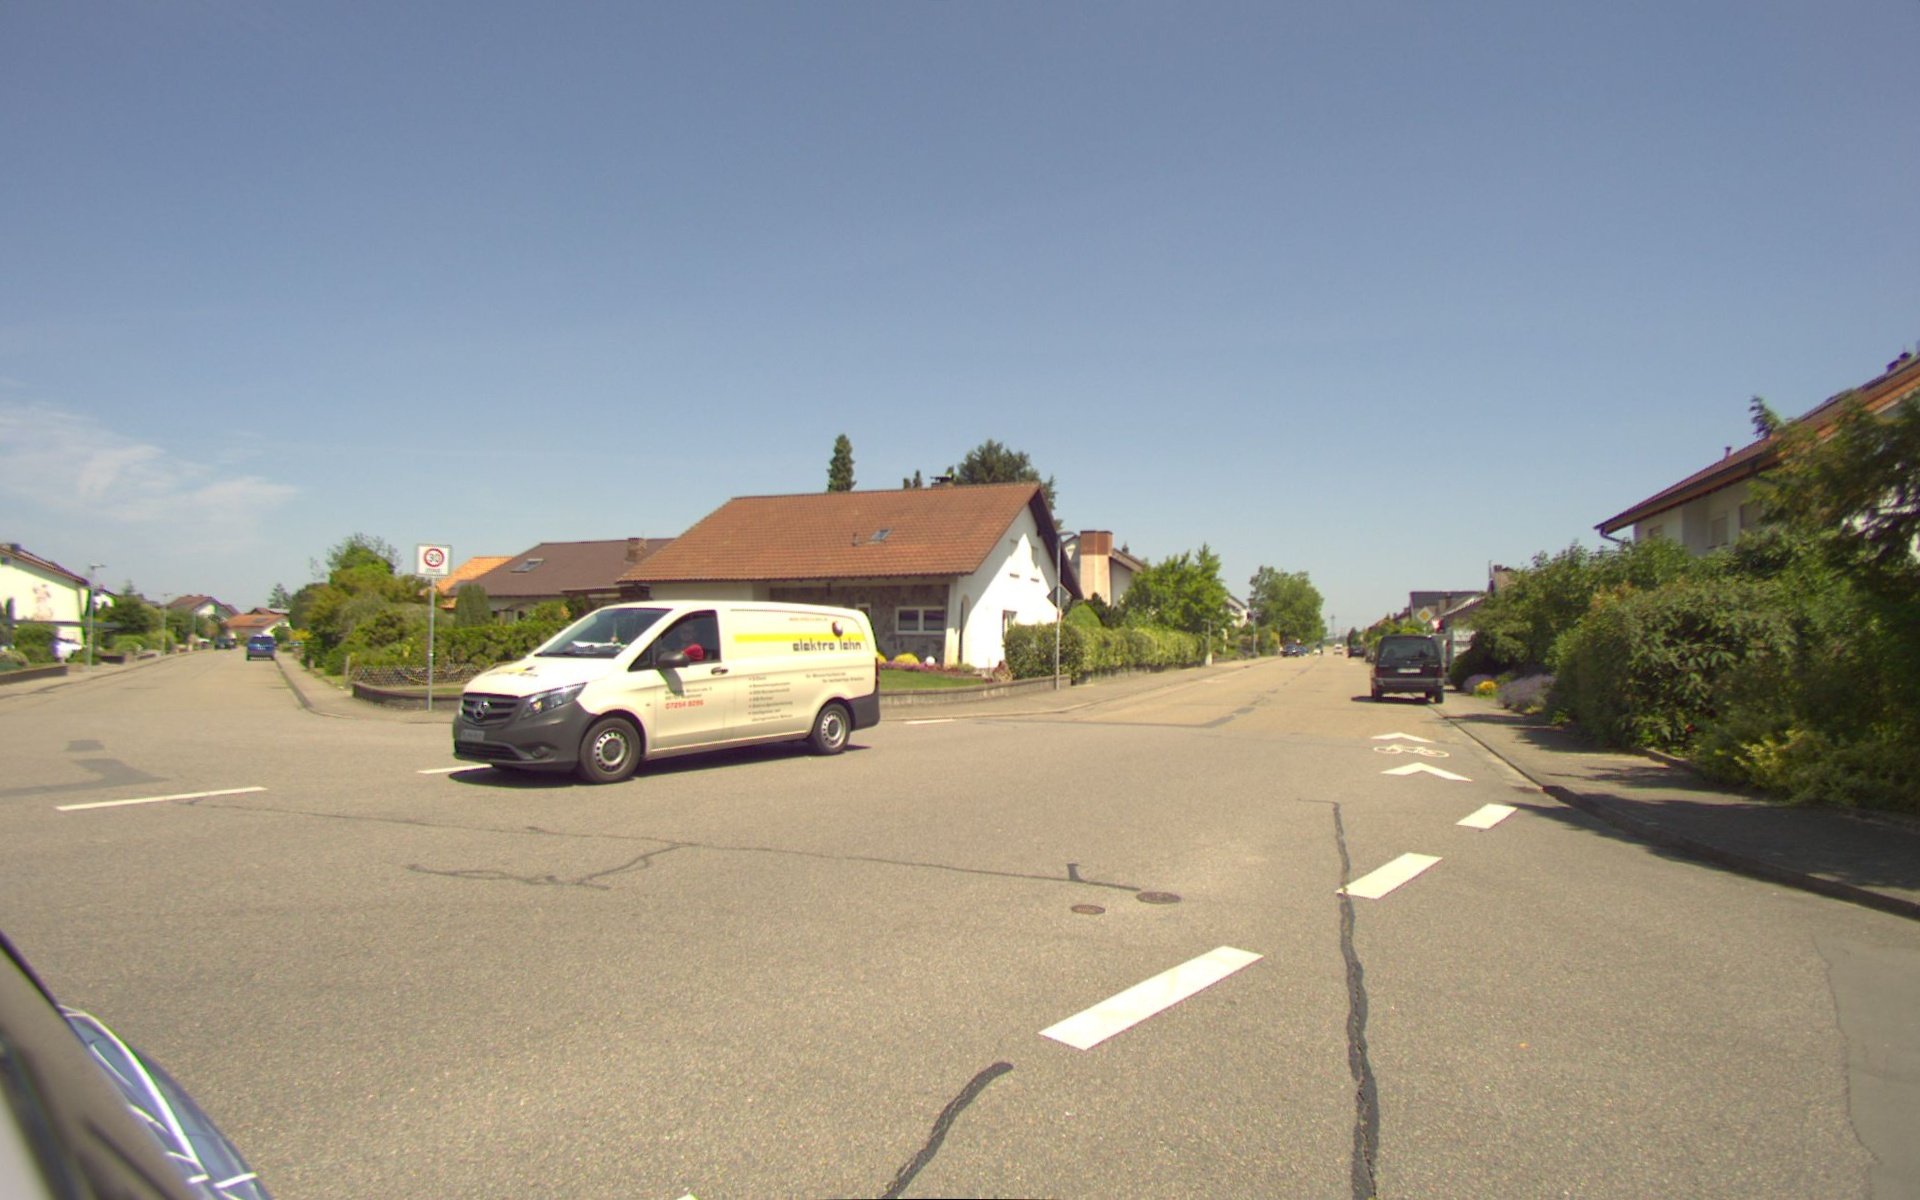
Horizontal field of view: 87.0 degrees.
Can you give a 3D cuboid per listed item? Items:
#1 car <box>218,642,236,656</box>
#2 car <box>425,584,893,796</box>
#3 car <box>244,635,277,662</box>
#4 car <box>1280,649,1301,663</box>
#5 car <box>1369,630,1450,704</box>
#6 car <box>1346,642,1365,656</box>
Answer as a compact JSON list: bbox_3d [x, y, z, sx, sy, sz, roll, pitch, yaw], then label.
[{"bbox_3d":[-107.452,7.152,148.342,1.846,1.940,4.007,2,-3,-39],"label":"car"},{"bbox_3d":[-3.100,0.889,11.621,2.015,1.870,5.008,-1,-3,34],"label":"car"},{"bbox_3d":[-50.956,3.495,73.782,1.797,1.896,4.011,2,-3,-33],"label":"car"},{"bbox_3d":[39.382,6.667,120.520,1.988,1.608,3.968,-1,-2,24],"label":"car"},{"bbox_3d":[12.189,1.781,27.633,1.711,1.860,4.026,-1,-3,20],"label":"car"},{"bbox_3d":[46.784,5.779,119.652,1.988,1.608,3.967,-1,-2,24],"label":"car"}]
